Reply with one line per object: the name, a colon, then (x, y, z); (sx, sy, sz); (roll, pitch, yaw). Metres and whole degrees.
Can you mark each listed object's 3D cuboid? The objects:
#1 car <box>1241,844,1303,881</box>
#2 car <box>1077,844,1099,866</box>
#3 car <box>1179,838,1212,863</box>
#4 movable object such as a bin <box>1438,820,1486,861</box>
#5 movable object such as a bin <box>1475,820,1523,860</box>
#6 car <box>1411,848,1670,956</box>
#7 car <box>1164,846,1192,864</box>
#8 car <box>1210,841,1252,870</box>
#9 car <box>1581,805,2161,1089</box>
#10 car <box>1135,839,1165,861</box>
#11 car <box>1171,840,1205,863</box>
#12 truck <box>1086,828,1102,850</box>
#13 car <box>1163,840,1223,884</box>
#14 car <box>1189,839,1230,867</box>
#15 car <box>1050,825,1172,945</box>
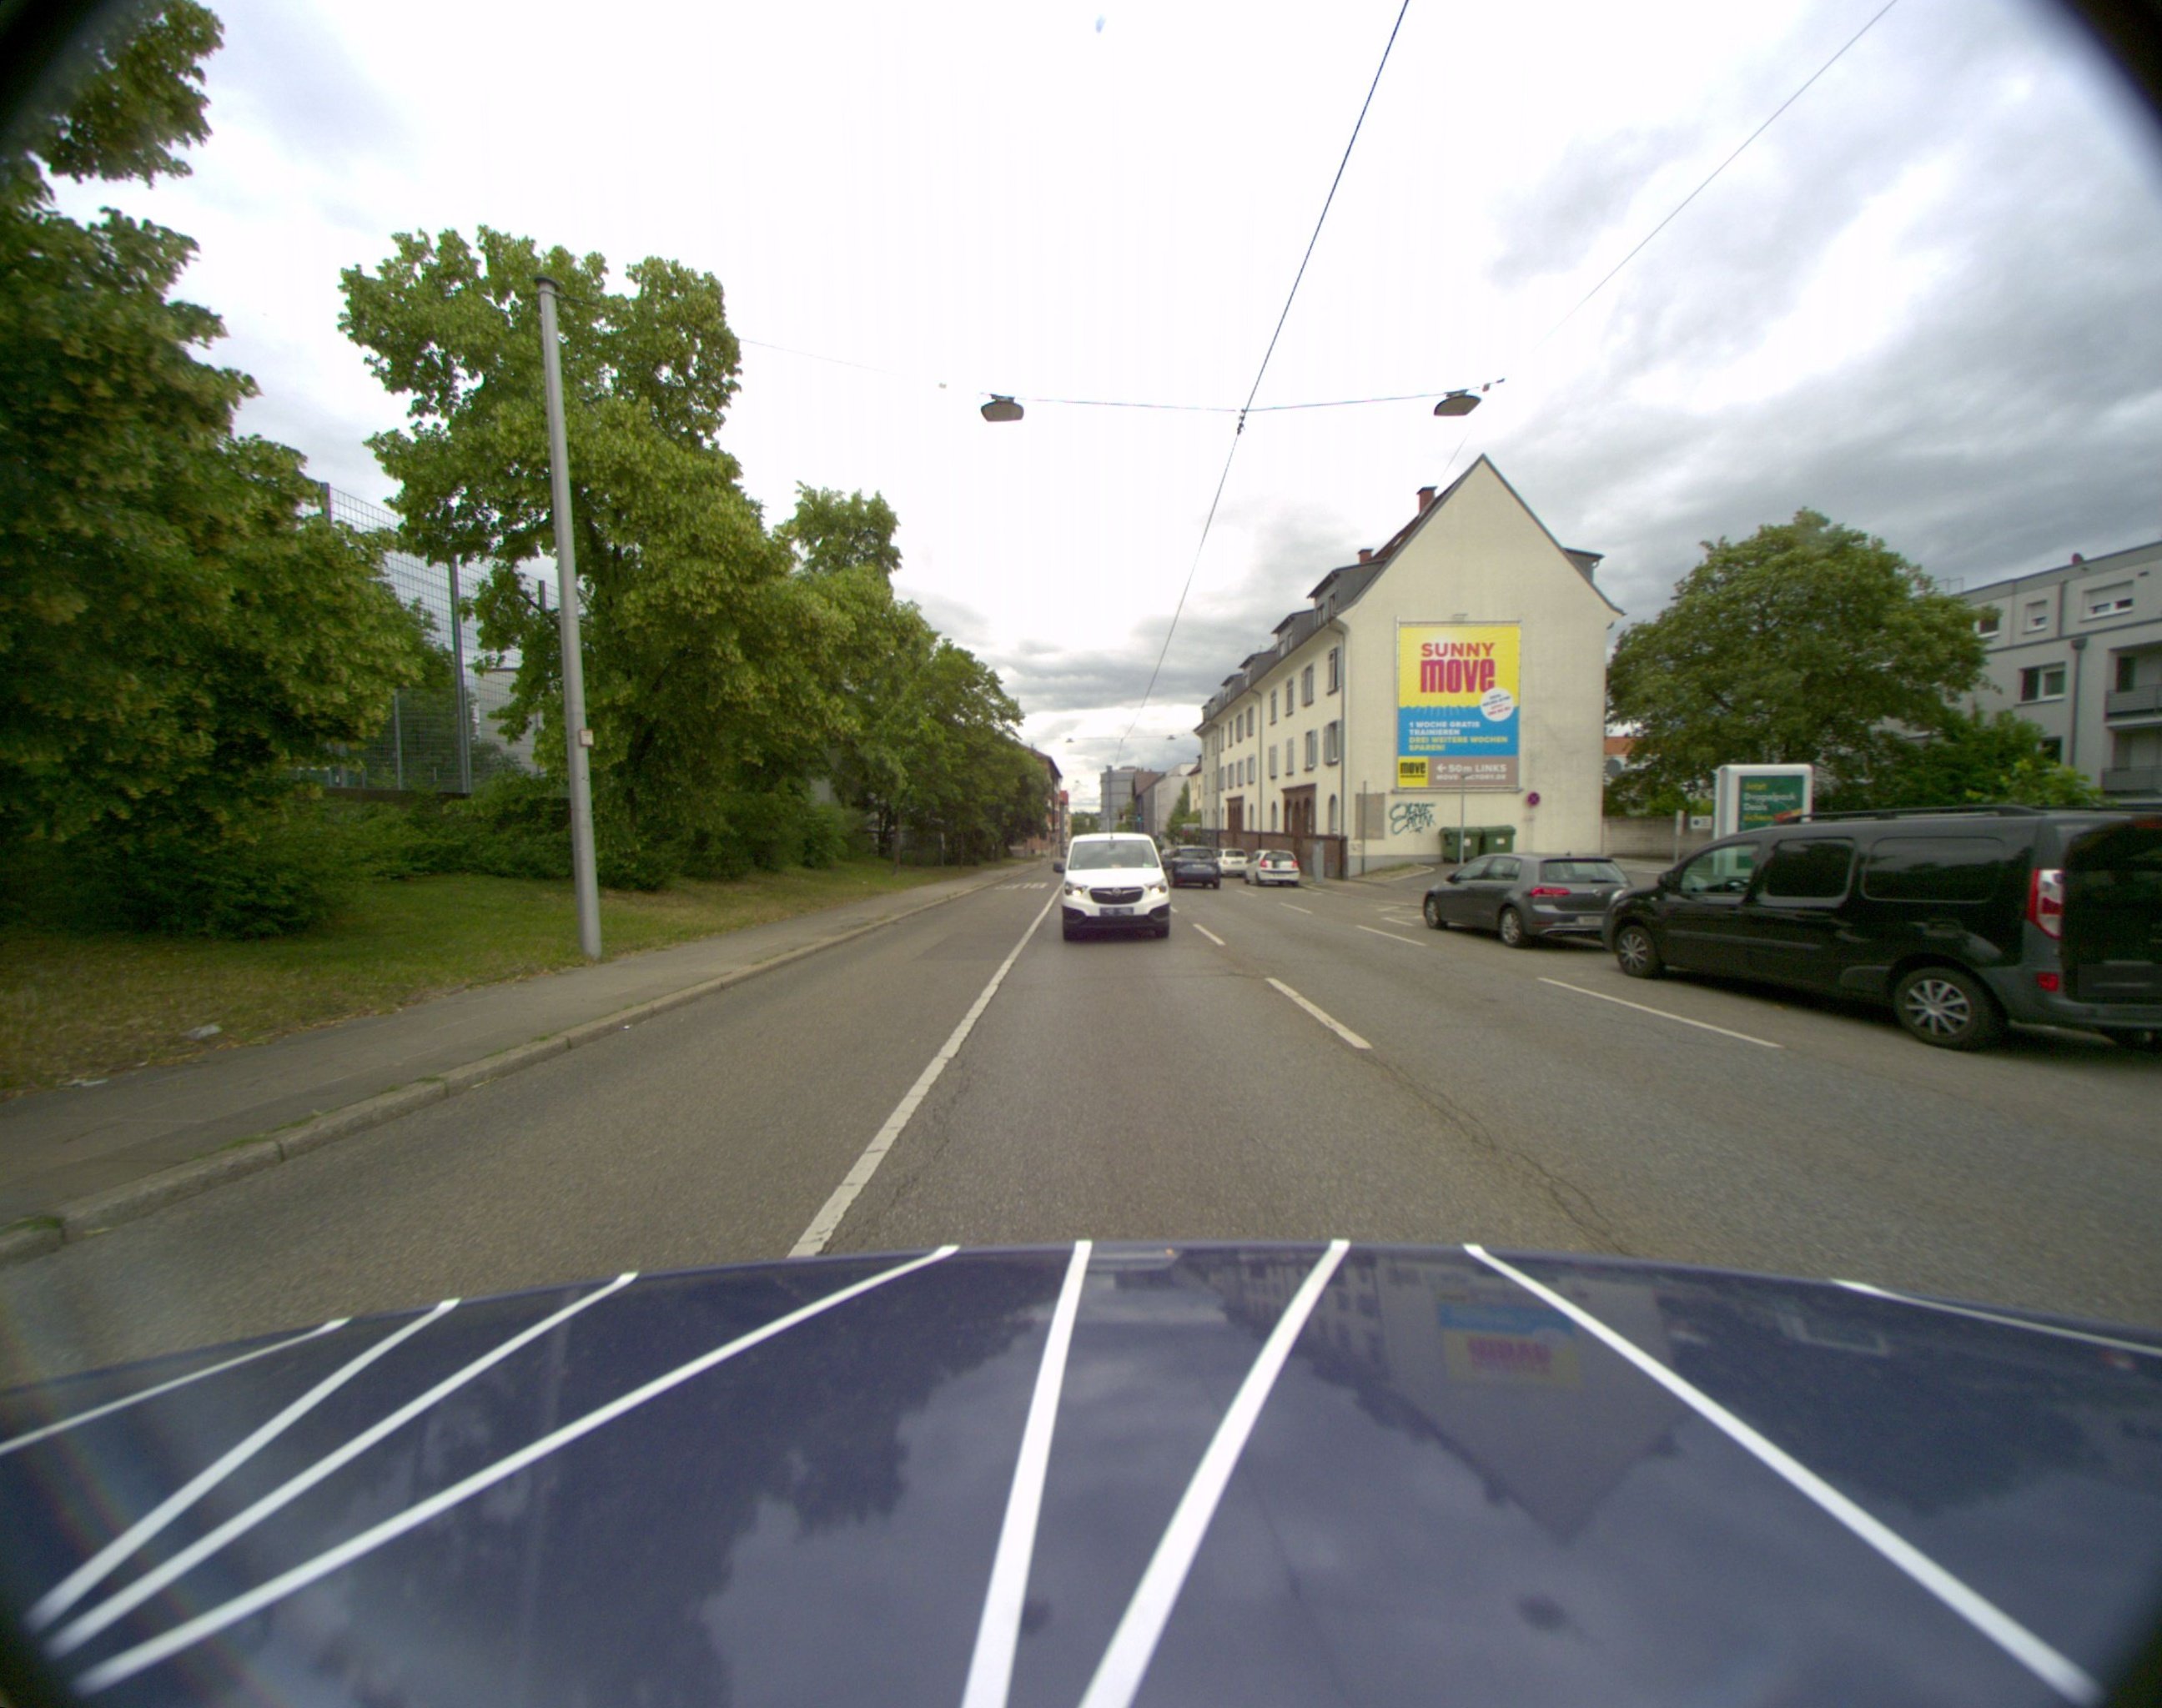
car: (7.680, 0.289, 30.853); (1.623, 1.417, 3.665); (0, 1, 1)
car: (0.624, 0.064, 65.544); (1.850, 1.832, 4.283); (-1, 1, 1)
car: (7.565, -0.233, 50.494); (1.731, 1.590, 4.502); (0, 1, 3)
movable object such as a bin: (14.941, -0.526, 29.830); (1.268, 1.529, 1.104); (1, 1, 1)
movable object such as a bin: (16.359, -0.552, 29.774); (1.268, 1.529, 1.104); (1, 1, 1)
car: (7.301, 0.650, 12.674); (1.795, 1.441, 4.217); (1, 1, 1)
car: (7.830, 0.032, 61.461); (1.731, 1.421, 4.191); (0, 1, 0)
car: (7.871, 0.062, 40.113); (1.551, 1.467, 3.603); (0, 1, 0)
car: (7.285, 0.566, 7.233); (1.856, 1.825, 4.700); (1, 1, -1)
car: (4.847, -0.328, 54.020); (1.802, 1.516, 3.999); (1, 1, 1)
car: (7.830, -0.181, 55.794); (1.850, 1.612, 4.642); (0, 1, 0)
truck: (2.103, -2.435, 126.100); (2.545, 3.478, 8.520); (0, 1, 1)
car: (4.155, 0.246, 28.603); (1.687, 1.546, 3.718); (0, 1, 0)
car: (7.647, -0.084, 45.446); (1.731, 1.549, 4.080); (2, 1, 0)
car: (0.512, 0.497, 13.938); (1.850, 1.831, 4.284); (-1, 0, 1)
